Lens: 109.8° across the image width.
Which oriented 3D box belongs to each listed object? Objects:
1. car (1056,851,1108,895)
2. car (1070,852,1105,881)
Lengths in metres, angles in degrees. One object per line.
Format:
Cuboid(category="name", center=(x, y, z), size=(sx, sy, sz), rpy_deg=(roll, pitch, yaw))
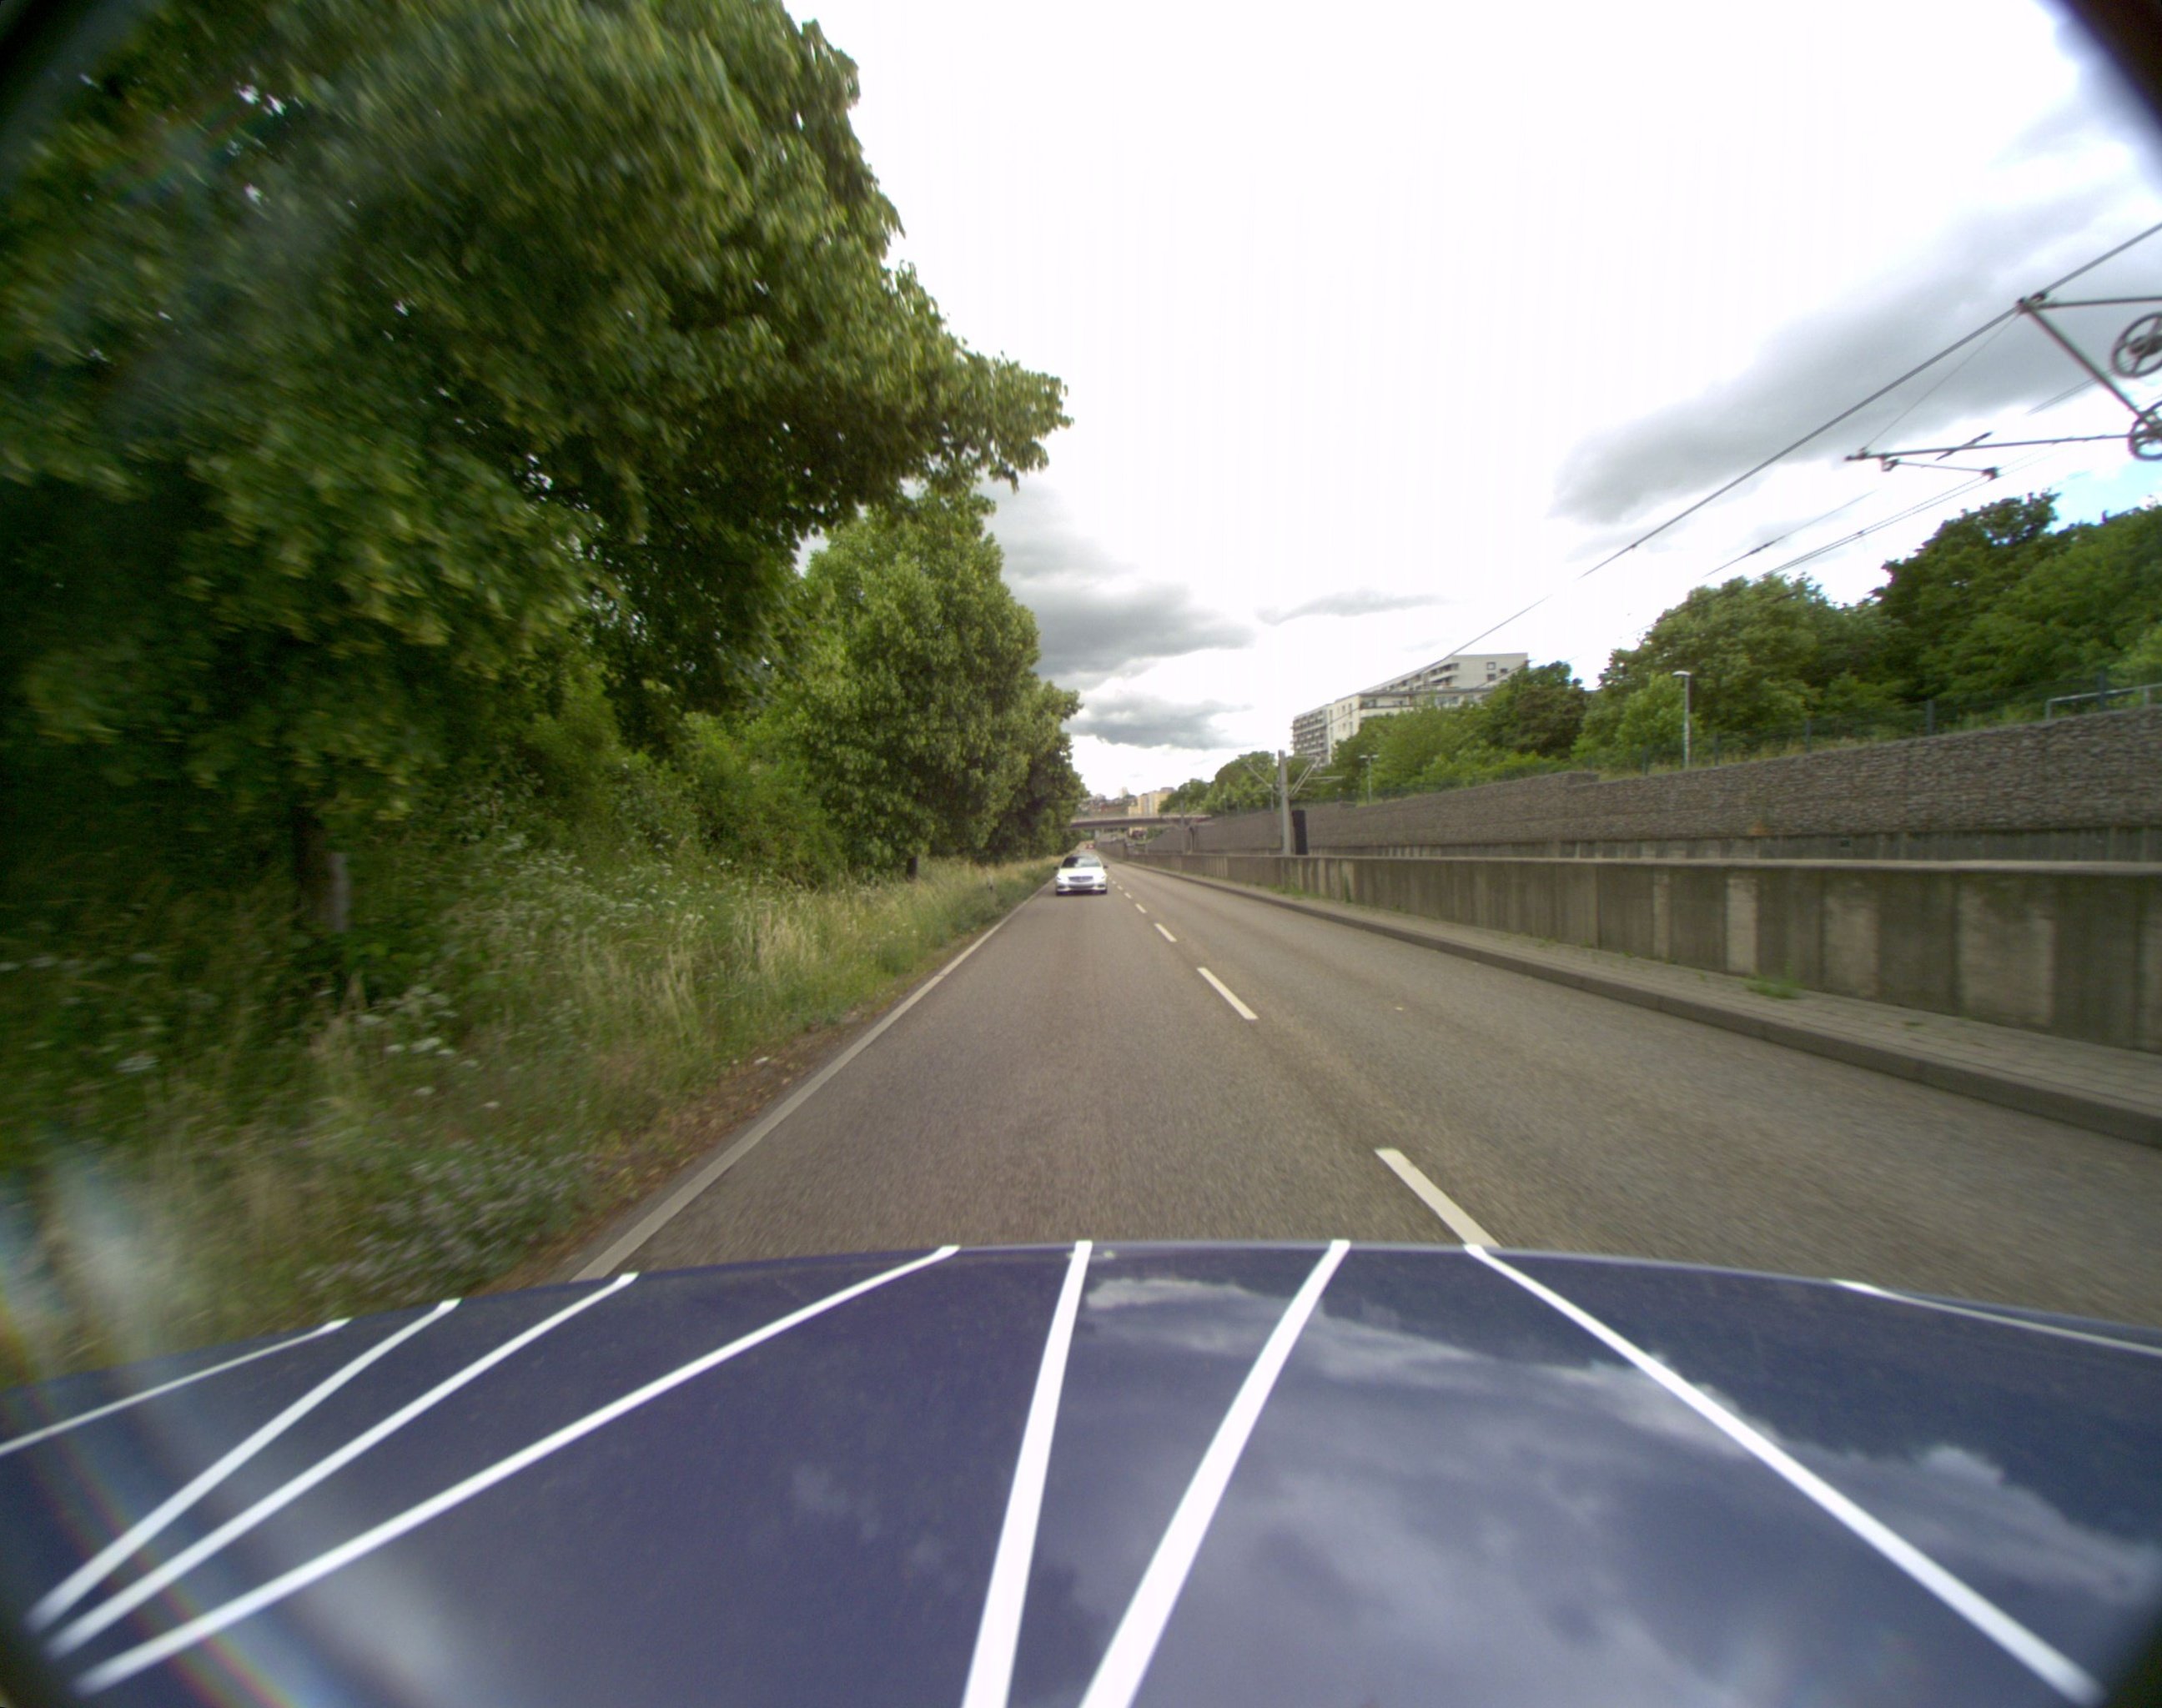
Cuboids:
Cuboid(category="car", center=(0.054, 0.664, 29.051), size=(1.842, 1.499, 4.160), rpy_deg=(-1, 0, 1))
Cuboid(category="car", center=(0.390, 0.674, 43.867), size=(1.878, 1.459, 3.999), rpy_deg=(-2, 1, 1))
